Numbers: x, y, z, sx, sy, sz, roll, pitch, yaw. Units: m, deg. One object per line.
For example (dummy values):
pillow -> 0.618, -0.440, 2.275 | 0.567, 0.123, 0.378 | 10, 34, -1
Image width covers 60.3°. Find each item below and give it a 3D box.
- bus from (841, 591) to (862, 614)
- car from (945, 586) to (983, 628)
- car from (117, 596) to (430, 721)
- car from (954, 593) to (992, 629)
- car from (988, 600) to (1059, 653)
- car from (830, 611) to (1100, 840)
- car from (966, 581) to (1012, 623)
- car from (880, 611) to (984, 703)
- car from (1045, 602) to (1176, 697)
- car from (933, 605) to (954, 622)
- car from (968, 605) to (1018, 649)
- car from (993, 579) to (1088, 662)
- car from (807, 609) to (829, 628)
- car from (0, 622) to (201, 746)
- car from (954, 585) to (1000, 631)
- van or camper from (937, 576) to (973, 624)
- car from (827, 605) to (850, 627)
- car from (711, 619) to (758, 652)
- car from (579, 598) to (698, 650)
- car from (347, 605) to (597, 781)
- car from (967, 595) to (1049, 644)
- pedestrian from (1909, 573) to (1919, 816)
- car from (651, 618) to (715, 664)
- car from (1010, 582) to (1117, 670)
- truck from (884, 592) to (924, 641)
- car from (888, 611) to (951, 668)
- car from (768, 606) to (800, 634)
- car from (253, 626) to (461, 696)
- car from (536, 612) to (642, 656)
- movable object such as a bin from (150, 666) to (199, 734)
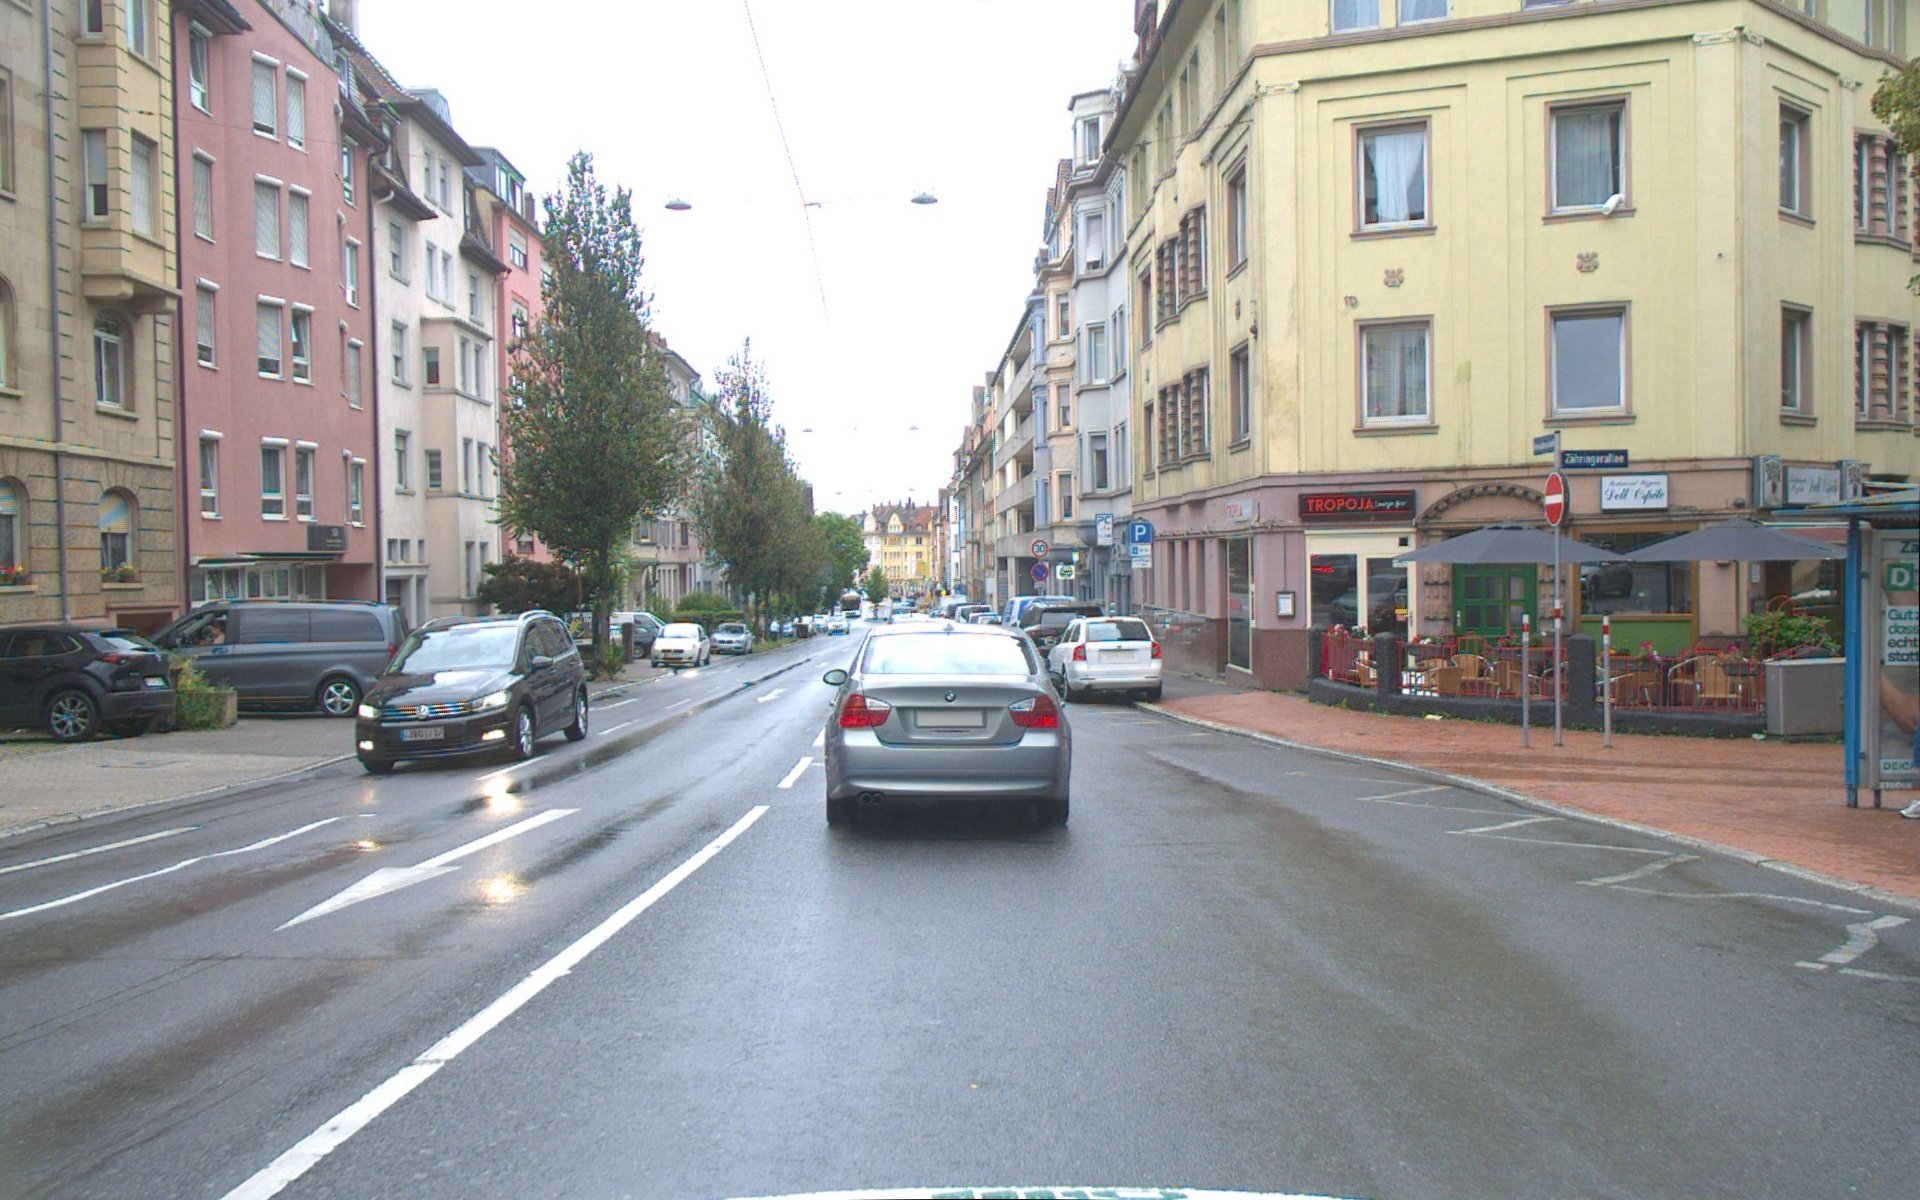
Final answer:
bus -> -15.392, 0.312, 235.215 | 2.615, 3.077, 7.667 | -3, 0, -2
car -> 0.198, 0.388, 94.661 | 1.942, 2.203, 4.748 | -3, 0, -2
car -> -11.452, 0.945, 27.910 | 4.592, 1.972, 1.858 | 0, 0, -12
car -> 0.636, 0.552, 84.893 | 1.691, 1.699, 4.286 | -3, 0, -2
car -> 1.730, 0.712, 46.288 | 1.643, 1.399, 4.274 | -1, 0, -2
car -> -0.085, 0.835, 12.479 | 1.734, 1.453, 3.737 | 0, -1, -4
car -> 1.258, 0.081, 73.190 | 1.691, 1.699, 4.286 | -4, 0, -2
car -> -0.477, 0.926, 28.300 | 1.647, 1.453, 3.740 | 0, 0, -1
car -> 2.659, 0.845, 30.223 | 1.763, 1.592, 4.490 | 0, 0, -3
car -> -1.456, 1.169, 142.909 | 1.663, 1.509, 3.973 | 0, 0, -3
car -> 1.166, 0.945, 59.787 | 1.579, 1.500, 4.014 | -1, 0, -2
car -> 1.961, 0.487, 41.567 | 1.881, 1.859, 5.007 | -3, 0, -2
car -> -12.692, 1.638, 148.243 | 1.657, 1.550, 3.735 | -4, 0, -1
car -> -12.808, 1.125, 22.504 | 4.064, 1.537, 1.872 | -1, 1, -2
car -> 0.780, 0.364, 79.971 | 1.942, 2.042, 4.623 | -3, 0, -2
van or camper -> -0.291, -0.010, 105.084 | 1.991, 2.919, 6.886 | 1, 0, 2
car -> -9.635, 1.262, 131.686 | 1.603, 1.534, 3.753 | -5, 0, -2
car -> -10.542, 1.640, 77.519 | 1.691, 1.510, 3.988 | 0, -1, -1
car -> -13.980, 1.025, 72.189 | 4.732, 2.008, 2.047 | -3, 0, -2
car -> -5.563, 0.974, 19.438 | 1.588, 1.677, 4.419 | -4, 0, -1
car -> 1.495, 0.606, 52.987 | 1.840, 1.493, 4.766 | 0, 0, -8
pedestrian -> 7.474, 0.702, 12.429 | 0.547, 1.806, 0.545 | 0, 0, 26
car -> -9.640, 1.401, 57.866 | 1.588, 1.471, 4.004 | -2, 0, -1
car -> 2.148, 0.527, 35.566 | 1.841, 1.762, 4.675 | 0, 0, -2
truck -> -2.961, 0.856, 86.708 | 1.991, 2.455, 4.824 | 0, 0, -3
car -> -1.146, 1.071, 46.403 | 1.663, 1.509, 3.792 | 0, 0, -2
car -> -11.244, 1.273, 105.988 | 1.732, 1.621, 3.997 | -4, 0, -3
car -> -14.869, 1.487, 40.961 | 4.457, 1.425, 1.767 | -3, 0, -3
car -> -14.299, 1.300, 63.927 | 3.811, 1.483, 1.788 | -3, 0, -10
movable object such as a bin -> -11.591, 1.474, 24.417 | 0.494, 0.967, 0.441 | 0, 0, 3
